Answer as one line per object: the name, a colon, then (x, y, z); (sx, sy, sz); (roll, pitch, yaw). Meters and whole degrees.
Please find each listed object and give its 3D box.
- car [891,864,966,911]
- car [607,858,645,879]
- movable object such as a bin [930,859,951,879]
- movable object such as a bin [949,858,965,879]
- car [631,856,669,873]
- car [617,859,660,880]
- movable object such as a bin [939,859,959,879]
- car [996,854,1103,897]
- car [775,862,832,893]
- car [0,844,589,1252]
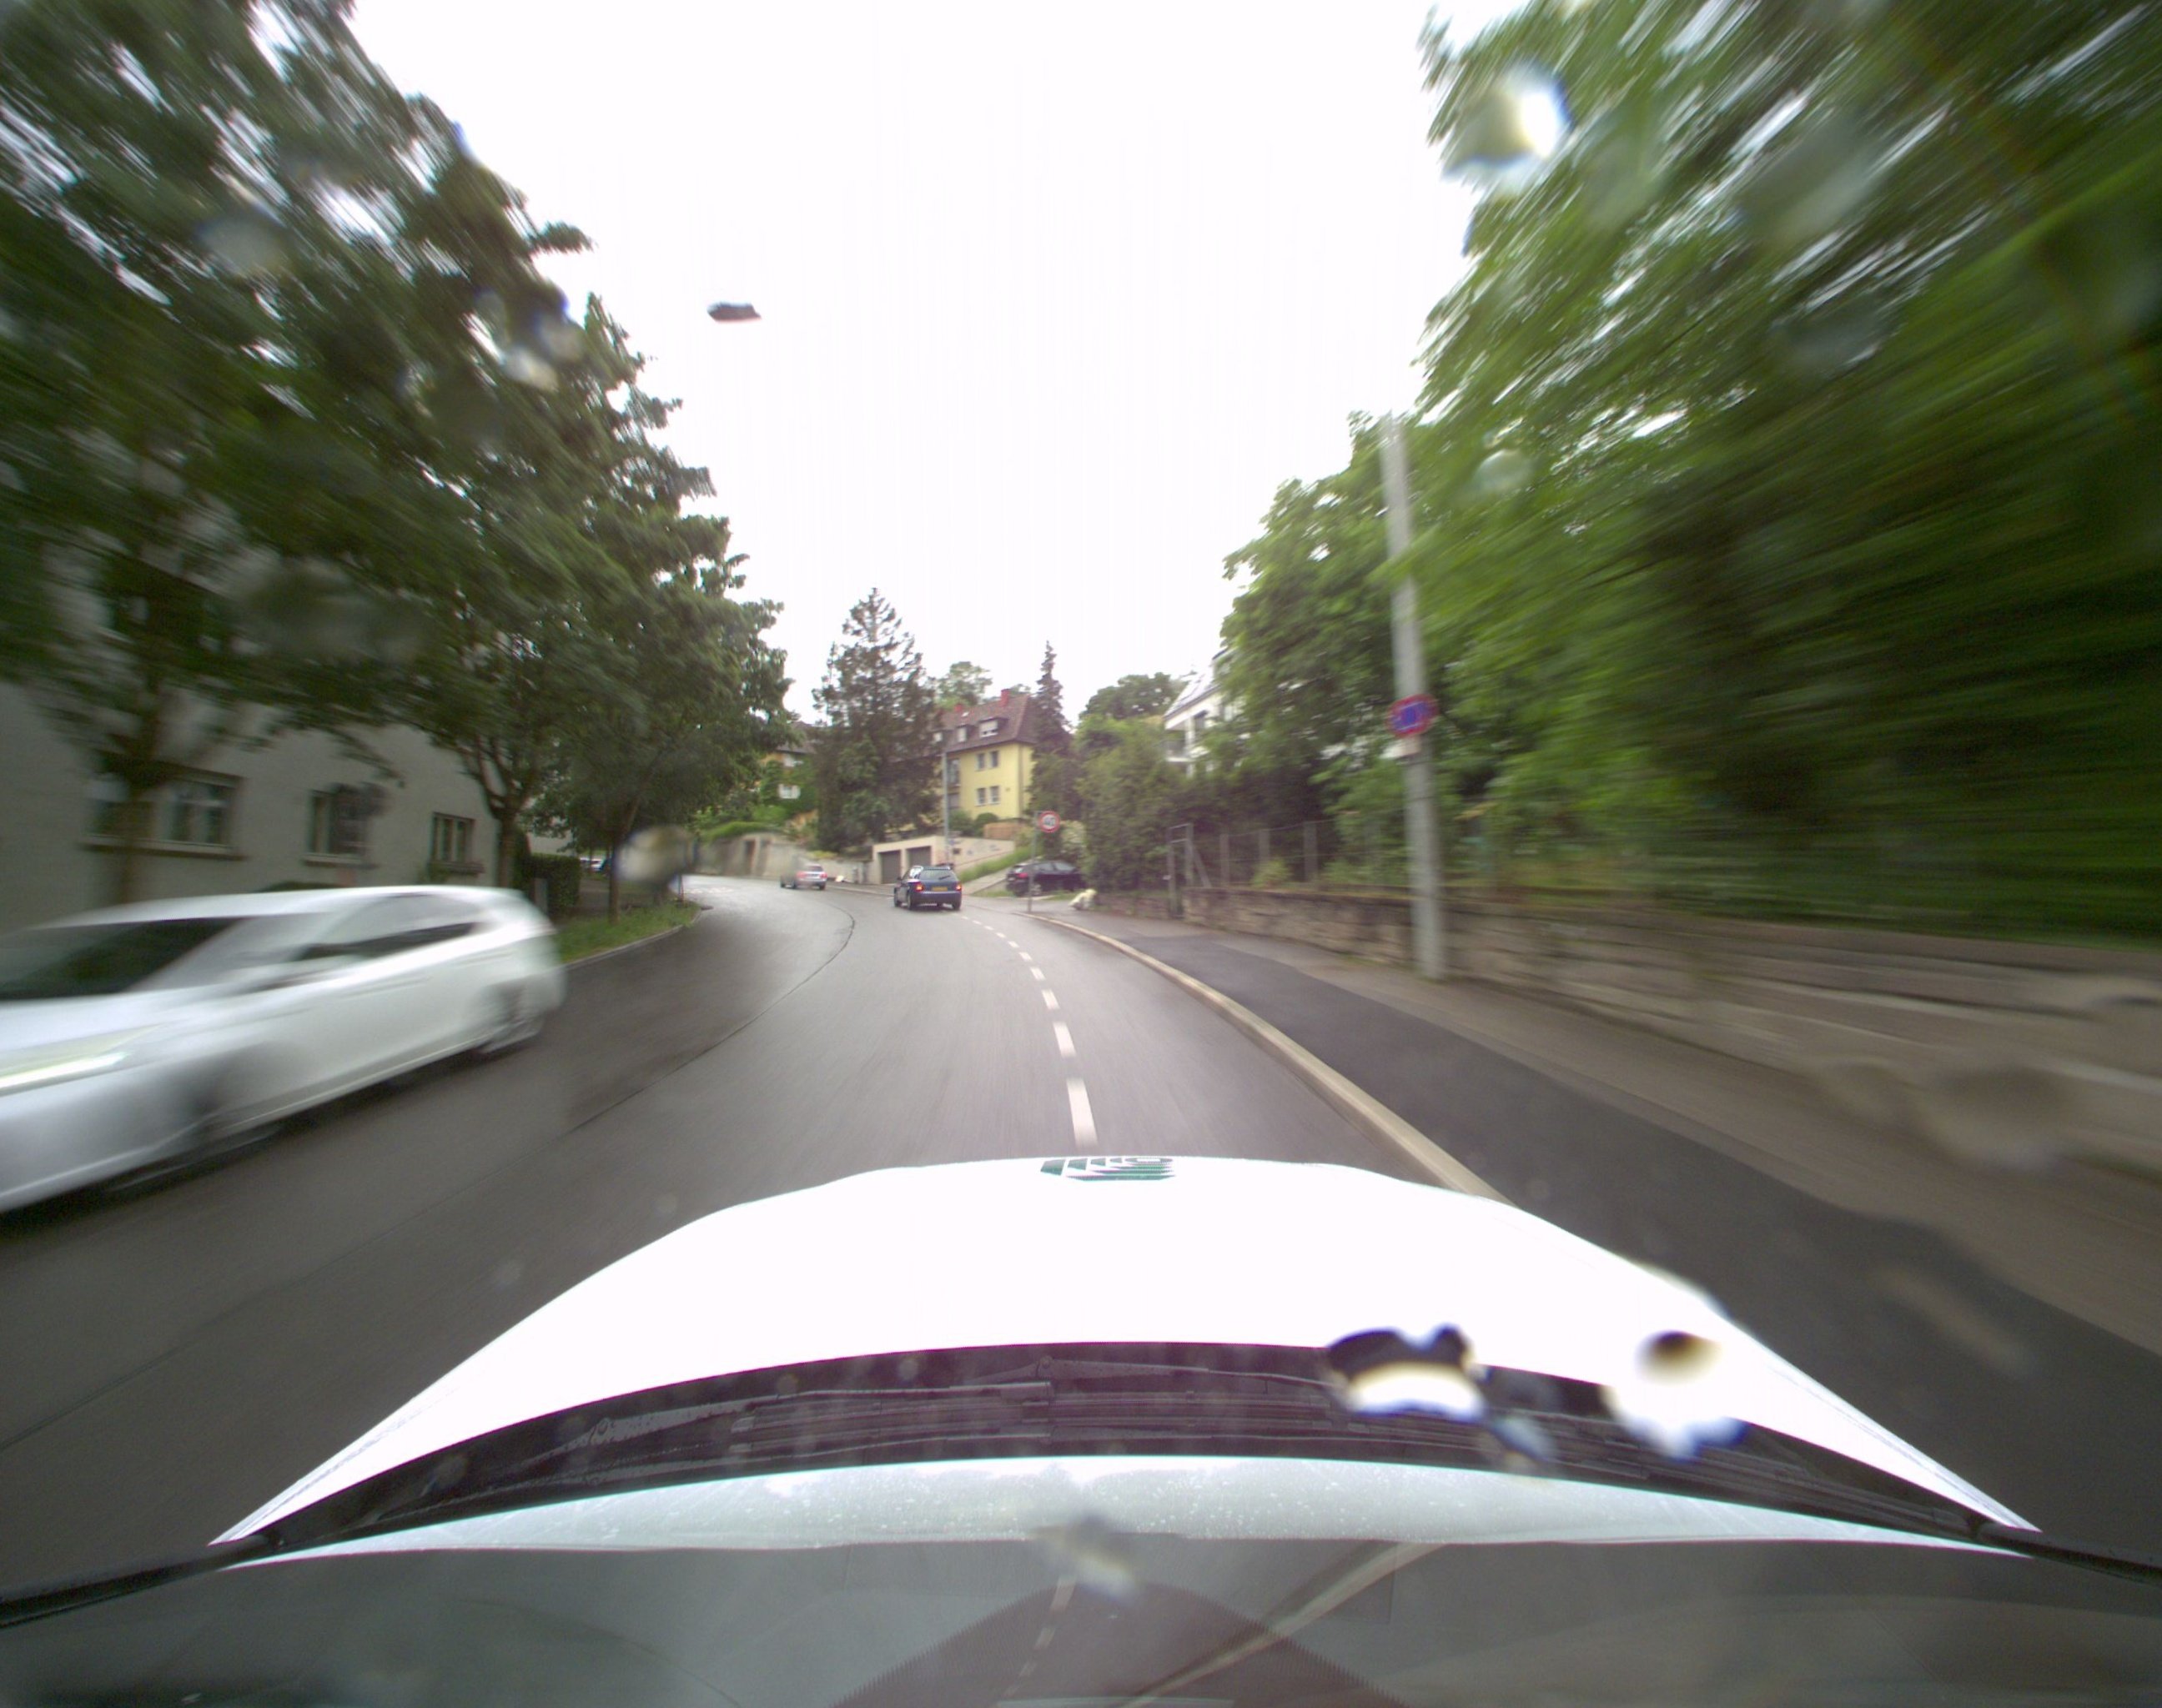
car: (-5.377, 1.085, 28.297); (1.860, 1.414, 4.332); (-2, 0, -20)
car: (-36.635, 1.117, 65.512); (1.894, 1.596, 3.952); (0, 0, -42)
movable object such as a bin: (-8.309, 0.908, 48.153); (0.789, 1.142, 0.867); (-1, 0, 43)
movable object such as a bin: (-7.190, 0.849, 47.162); (0.573, 1.223, 0.709); (-1, 0, 43)
car: (-45.314, 1.116, 85.648); (3.948, 1.684, 2.013); (-1, 0, 36)
car: (-33.603, 1.138, 61.746); (2.011, 1.530, 3.952); (0, 0, -42)
movable object such as a bin: (-7.715, 0.876, 47.618); (0.777, 1.185, 0.867); (-1, 0, 43)
car: (-1.319, 0.895, 34.784); (4.198, 1.508, 1.722); (-4, 1, -33)
car: (-15.973, 1.315, 46.701); (1.964, 1.561, 4.218); (1, 1, -35)
car: (-5.788, 0.916, 5.832); (1.982, 1.788, 4.684); (-4, 0, -7)
